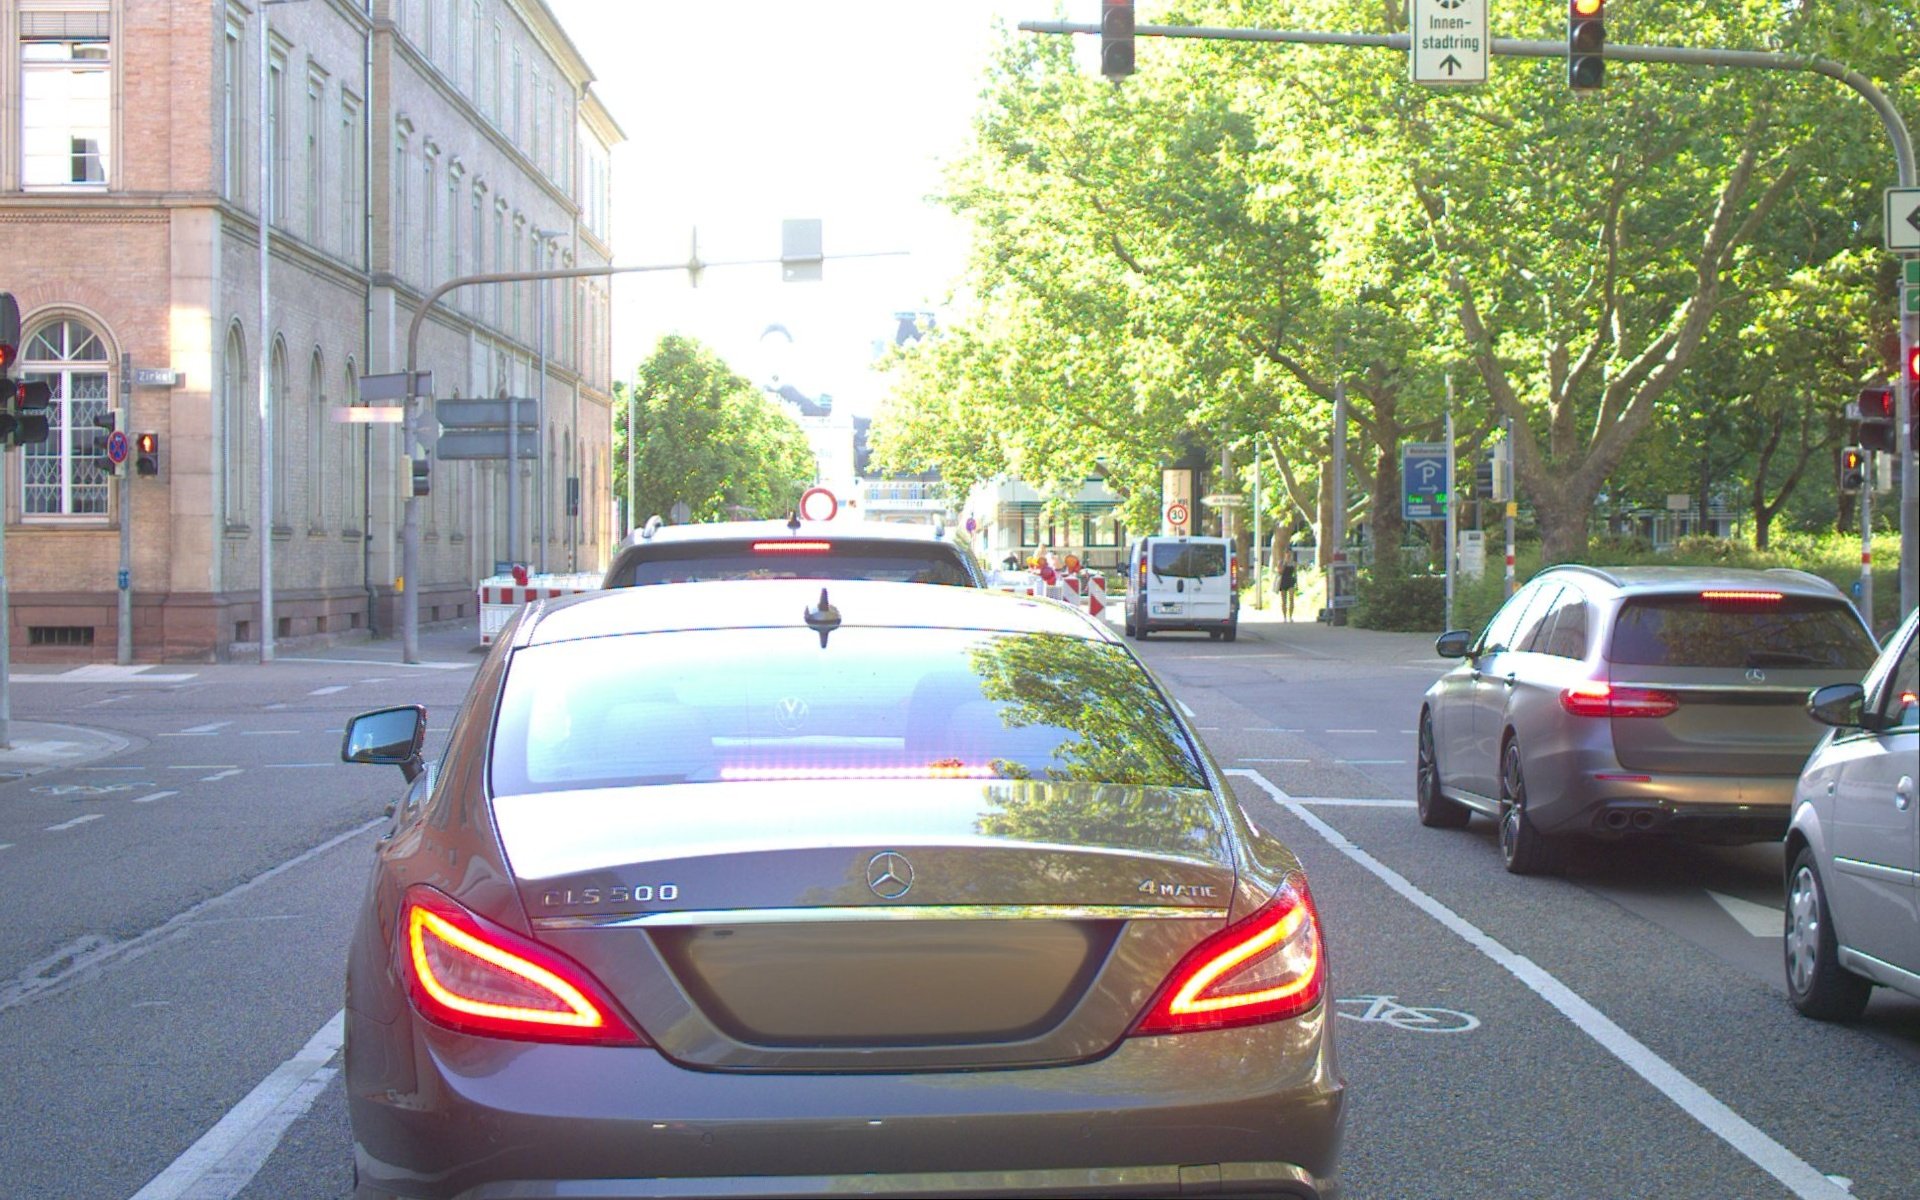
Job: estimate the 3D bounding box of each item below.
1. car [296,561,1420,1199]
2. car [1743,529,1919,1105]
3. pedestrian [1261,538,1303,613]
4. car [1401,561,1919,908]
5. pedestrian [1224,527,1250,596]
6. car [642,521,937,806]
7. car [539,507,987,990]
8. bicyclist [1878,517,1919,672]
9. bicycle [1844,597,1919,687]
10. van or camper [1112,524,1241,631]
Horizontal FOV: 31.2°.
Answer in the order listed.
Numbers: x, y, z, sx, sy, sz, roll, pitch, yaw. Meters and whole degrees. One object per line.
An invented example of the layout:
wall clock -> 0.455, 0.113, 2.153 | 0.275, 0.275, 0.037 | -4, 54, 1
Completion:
car -> -0.434, 0.655, 7.656 | 1.803, 1.451, 4.352 | 0, 1, -8
car -> 3.538, 0.612, 9.966 | 1.701, 1.597, 3.859 | 1, 1, 1
pedestrian -> 6.990, -0.530, 74.599 | 0.830, 1.601, 0.651 | 1, 1, -1
car -> 3.536, 0.568, 17.440 | 1.913, 1.459, 4.669 | 2, 1, -1
pedestrian -> 7.398, -1.034, 91.861 | 0.603, 1.815, 0.651 | 1, 1, -1
car -> -1.077, 0.360, 23.240 | 1.820, 1.756, 4.000 | 0, 1, -1
car -> -0.762, 0.479, 13.717 | 1.517, 1.641, 3.881 | 1, 1, -3
bicyclist -> 10.437, -0.059, 36.774 | 1.014, 1.637, 0.608 | 0, 1, -6
bicycle -> 10.445, 0.452, 36.774 | 1.793, 0.943, 0.614 | 1, 1, -6
van or camper -> 4.023, -0.451, 64.560 | 1.993, 1.935, 4.595 | 0, 1, -2
